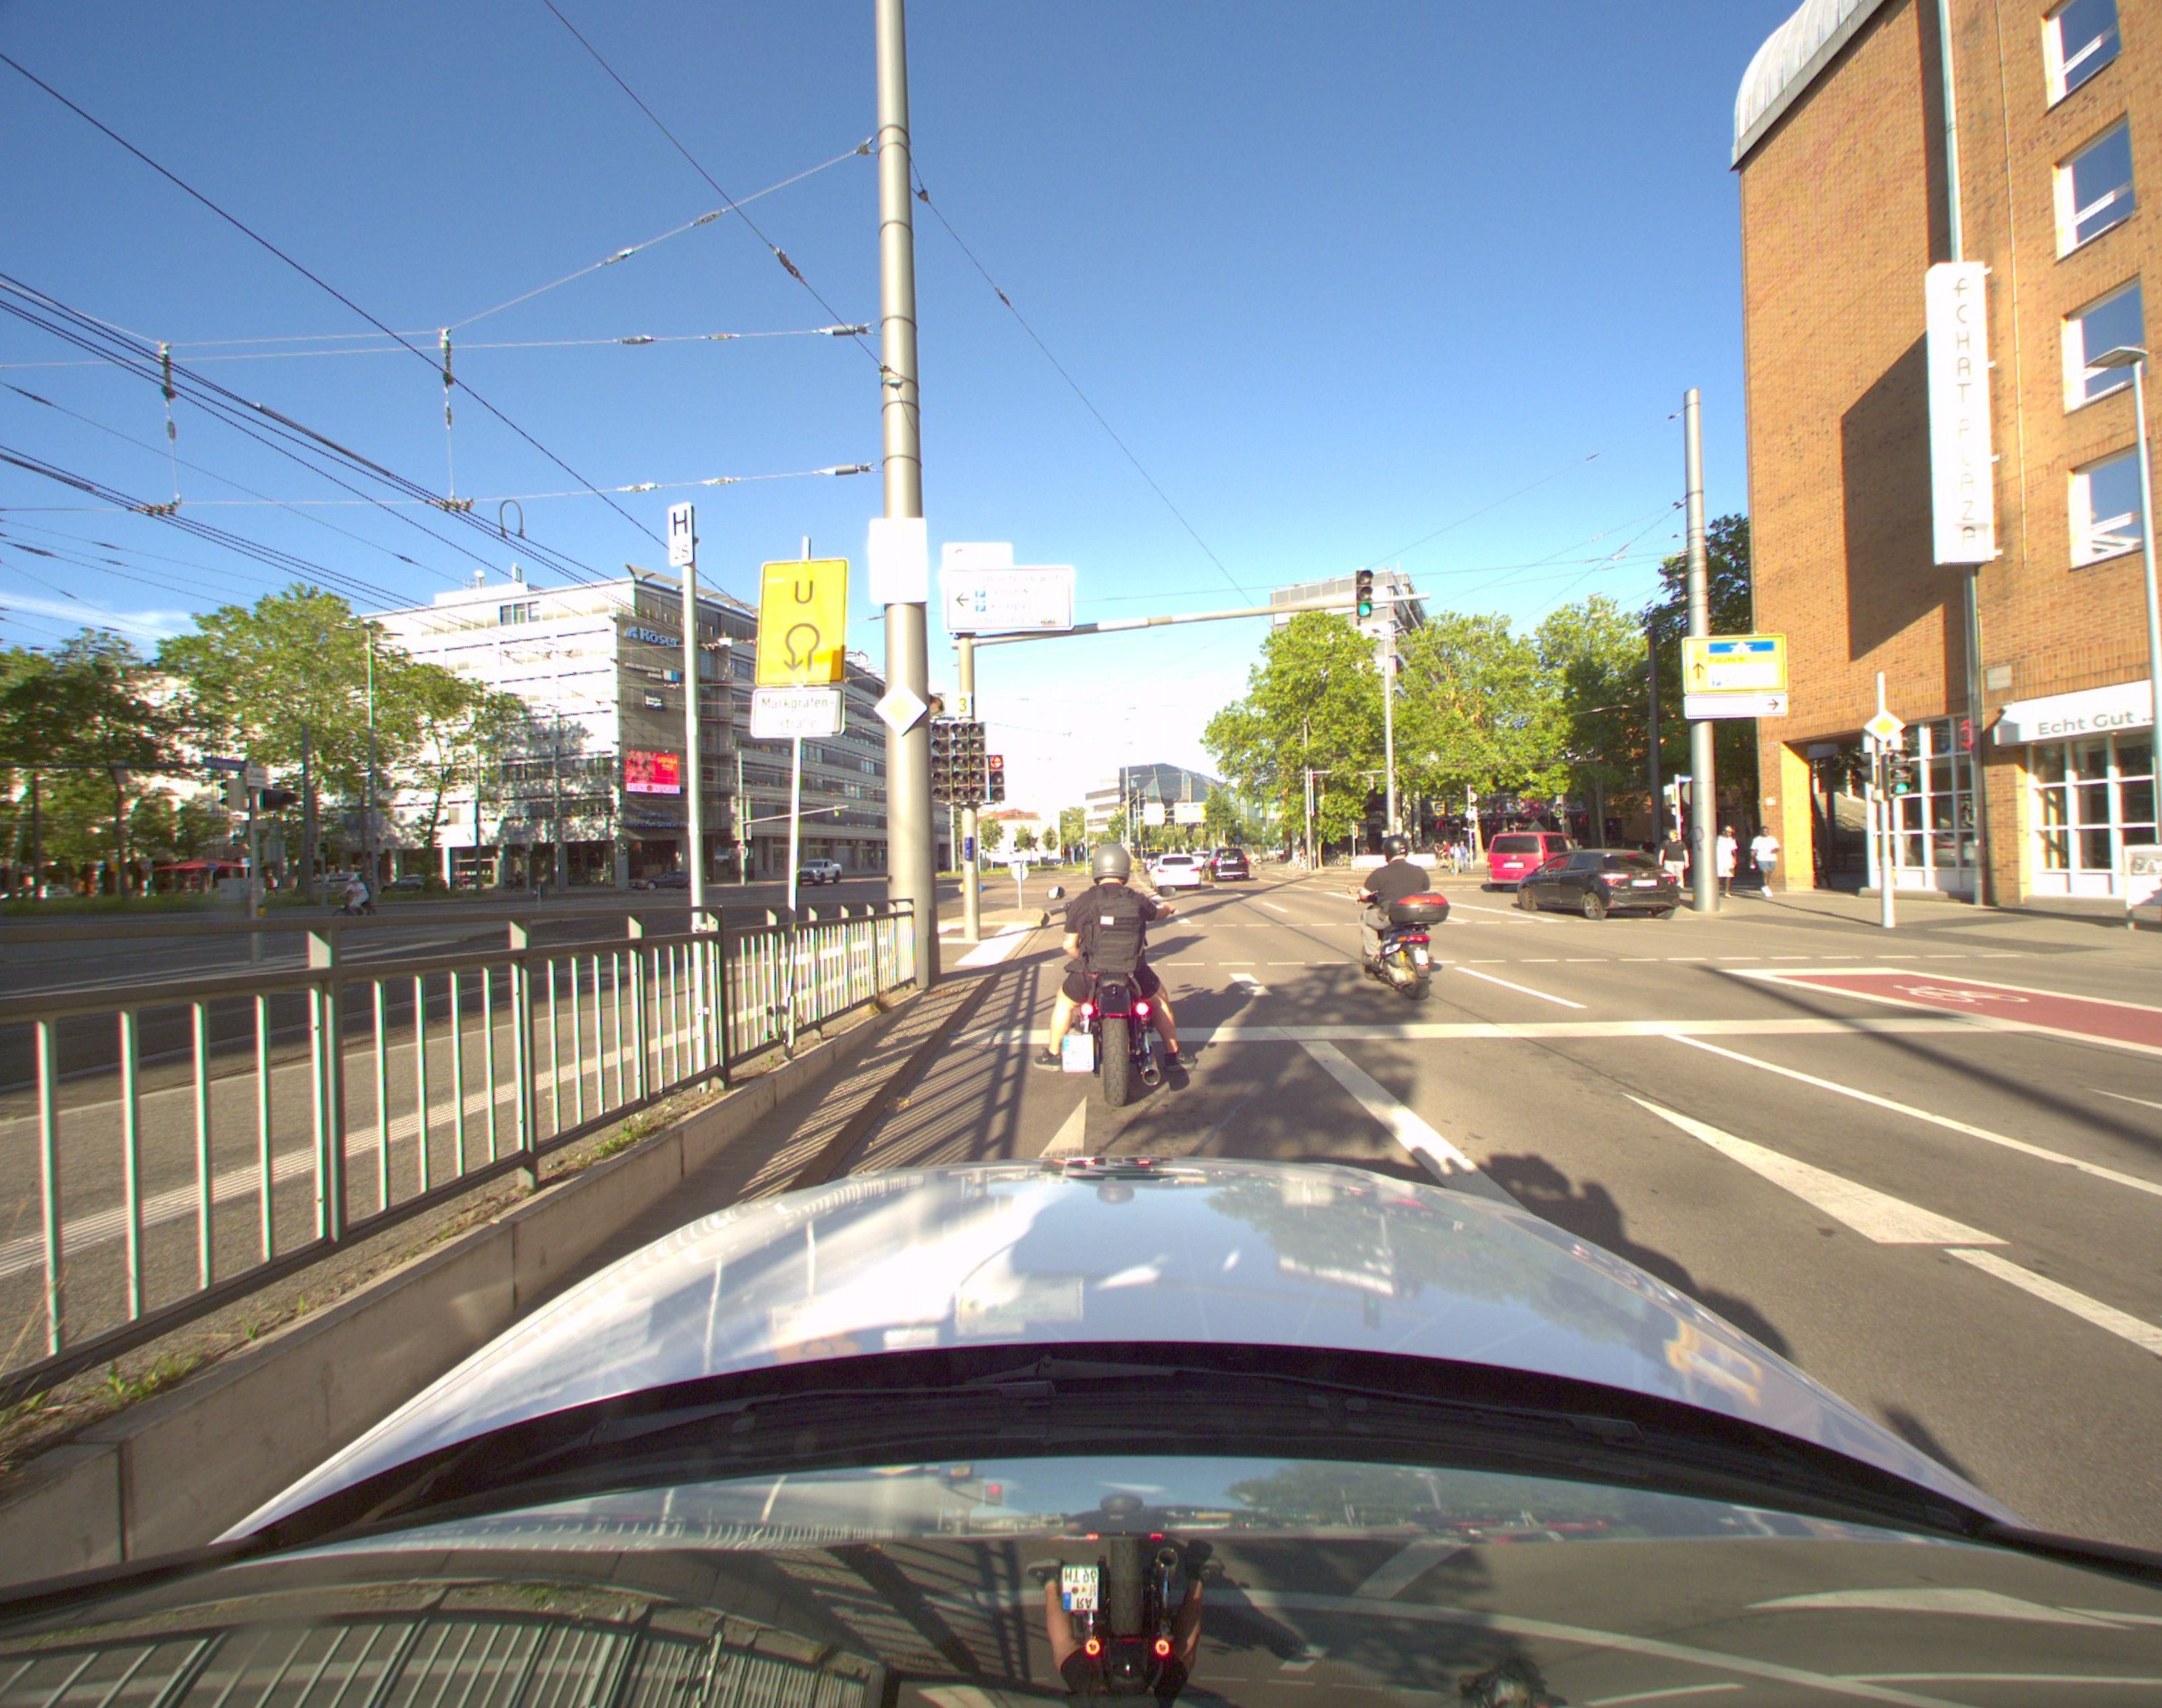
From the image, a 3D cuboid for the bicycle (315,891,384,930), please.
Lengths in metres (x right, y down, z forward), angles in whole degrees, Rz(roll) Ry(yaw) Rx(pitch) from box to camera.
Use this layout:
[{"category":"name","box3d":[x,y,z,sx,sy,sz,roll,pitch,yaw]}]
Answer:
[{"category":"bicycle","box3d":[-23.171,1.767,25.837,0.458,1.090,1.815,-3,-1,2]}]

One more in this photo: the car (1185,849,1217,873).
[{"category":"car","box3d":[8.319,0.493,56.765,1.725,1.598,4.043,0,0,2]}]

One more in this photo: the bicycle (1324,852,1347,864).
[{"category":"bicycle","box3d":[21.444,0.340,68.662,1.874,1.046,0.360,0,0,1]}]

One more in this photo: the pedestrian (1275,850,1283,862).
[{"category":"pedestrian","box3d":[21.992,0.268,90.472,0.814,1.314,0.640,-1,-1,11]}]

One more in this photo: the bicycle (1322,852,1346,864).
[{"category":"bicycle","box3d":[21.492,0.340,69.162,1.874,1.046,0.360,0,0,1]}]

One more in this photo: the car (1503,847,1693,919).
[{"category":"car","box3d":[11.602,0.587,18.640,1.726,1.450,4.039,-1,0,-1]}]

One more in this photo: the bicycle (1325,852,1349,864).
[{"category":"bicycle","box3d":[21.463,0.346,68.176,1.874,1.046,0.360,0,-1,1]}]

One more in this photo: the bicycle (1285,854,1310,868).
[{"category":"bicycle","box3d":[17.320,0.560,65.076,1.854,1.044,0.540,-1,-1,20]}]

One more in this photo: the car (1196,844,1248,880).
[{"category":"car","box3d":[7.187,0.384,41.876,1.727,1.732,4.608,0,0,-2]}]

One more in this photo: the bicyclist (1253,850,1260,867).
[{"category":"bicyclist","box3d":[14.298,0.360,66.270,0.346,1.373,0.378,0,-1,-34]}]

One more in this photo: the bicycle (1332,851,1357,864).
[{"category":"bicycle","box3d":[21.421,0.296,66.173,1.874,1.046,0.360,0,-1,1]}]

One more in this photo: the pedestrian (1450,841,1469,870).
[{"category":"pedestrian","box3d":[20.246,0.095,43.583,0.568,1.532,0.697,0,-1,-21]}]

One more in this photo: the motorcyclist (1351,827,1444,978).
[{"category":"motorcyclist","box3d":[3.422,0.513,8.836,0.793,1.580,0.529,0,-1,1]}]

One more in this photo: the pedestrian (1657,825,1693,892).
[{"category":"pedestrian","box3d":[16.162,0.136,22.156,0.727,1.792,0.515,-1,-1,42]}]

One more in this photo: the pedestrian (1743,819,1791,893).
[{"category":"pedestrian","box3d":[16.934,0.044,20.120,0.588,1.780,0.684,-3,-1,13]}]

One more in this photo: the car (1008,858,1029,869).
[{"category":"car","box3d":[-8.684,1.337,113.452,1.814,1.430,4.543,-2,0,10]}]

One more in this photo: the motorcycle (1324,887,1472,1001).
[{"category":"motorcycle","box3d":[3.447,0.925,9.133,0.801,1.050,2.376,0,-1,2]}]

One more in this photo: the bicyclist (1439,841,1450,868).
[{"category":"bicyclist","box3d":[25.079,0.033,56.165,0.582,1.837,0.403,0,-1,1]}]

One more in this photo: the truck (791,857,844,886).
[{"category":"truck","box3d":[-18.885,1.251,58.575,1.987,1.880,5.155,-4,-1,0]}]

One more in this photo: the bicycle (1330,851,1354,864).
[{"category":"bicycle","box3d":[21.489,0.319,66.987,1.874,1.046,0.360,0,-1,1]}]

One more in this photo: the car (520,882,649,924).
[{"category":"car","box3d":[-13.952,1.353,23.035,2.884,1.063,1.235,0,-1,-19]}]

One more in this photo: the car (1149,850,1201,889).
[{"category":"car","box3d":[3.743,0.613,33.050,1.725,1.457,4.419,0,-1,2]}]

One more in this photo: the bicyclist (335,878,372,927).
[{"category":"bicyclist","box3d":[-23.095,1.523,25.859,0.584,1.534,0.650,0,-1,2]}]

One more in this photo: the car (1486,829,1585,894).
[{"category":"car","box3d":[15.227,0.233,27.175,1.786,2.009,4.499,0,0,44]}]

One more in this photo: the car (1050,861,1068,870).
[{"category":"car","box3d":[-3.607,1.959,134.642,1.812,1.430,4.256,-1,-1,13]}]

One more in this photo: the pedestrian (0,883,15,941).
[{"category":"pedestrian","box3d":[-32.489,1.732,24.173,0.587,1.691,0.795,0,-1,2]}]

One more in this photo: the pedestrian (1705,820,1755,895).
[{"category":"pedestrian","box3d":[16.086,0.077,20.201,0.591,1.779,0.681,-5,1,-2]}]

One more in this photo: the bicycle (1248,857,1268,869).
[{"category":"bicycle","box3d":[14.389,0.718,66.141,0.359,0.925,1.812,0,-1,-34]}]

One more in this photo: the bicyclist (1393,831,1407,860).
[{"category":"bicyclist","box3d":[20.410,-0.557,52.102,0.693,1.808,0.730,0,-1,6]}]

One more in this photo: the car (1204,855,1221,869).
[{"category":"car","box3d":[16.230,0.948,100.589,1.791,1.678,4.054,0,-1,12]}]

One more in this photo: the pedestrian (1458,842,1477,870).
[{"category":"pedestrian","box3d":[20.786,0.126,43.834,0.568,1.479,0.697,0,-1,-23]}]

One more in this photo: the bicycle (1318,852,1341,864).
[{"category":"bicycle","box3d":[21.489,0.346,70.313,1.874,1.046,0.360,0,0,1]}]

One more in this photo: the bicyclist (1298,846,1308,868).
[{"category":"bicyclist","box3d":[17.734,0.233,64.947,0.682,1.673,0.544,-2,-2,21]}]

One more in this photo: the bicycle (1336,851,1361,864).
[{"category":"bicycle","box3d":[21.471,0.274,65.390,1.874,1.046,0.360,0,-1,1]}]

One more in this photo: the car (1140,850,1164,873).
[{"category":"car","box3d":[5.451,0.589,62.397,1.795,1.678,4.046,0,-1,5]}]

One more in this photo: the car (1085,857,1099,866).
[{"category":"car","box3d":[2.058,1.428,153.790,1.736,1.524,4.016,-1,-1,16]}]

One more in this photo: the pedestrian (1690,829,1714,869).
[{"category":"pedestrian","box3d":[26.387,-0.202,34.617,0.634,1.700,0.727,-1,-1,21]}]

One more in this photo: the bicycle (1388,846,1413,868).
[{"category":"bicycle","box3d":[20.433,0.197,52.075,0.722,1.367,2.922,0,-1,6]}]

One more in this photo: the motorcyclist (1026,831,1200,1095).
[{"category":"motorcyclist","box3d":[0.210,0.672,5.440,1.027,1.593,0.874,-2,0,1]}]

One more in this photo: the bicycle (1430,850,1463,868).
[{"category":"bicycle","box3d":[25.202,0.341,56.152,2.034,1.214,0.421,0,-1,2]}]

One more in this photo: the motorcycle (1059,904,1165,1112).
[{"category":"motorcycle","box3d":[0.210,0.948,5.764,0.598,1.036,2.235,0,0,2]}]
